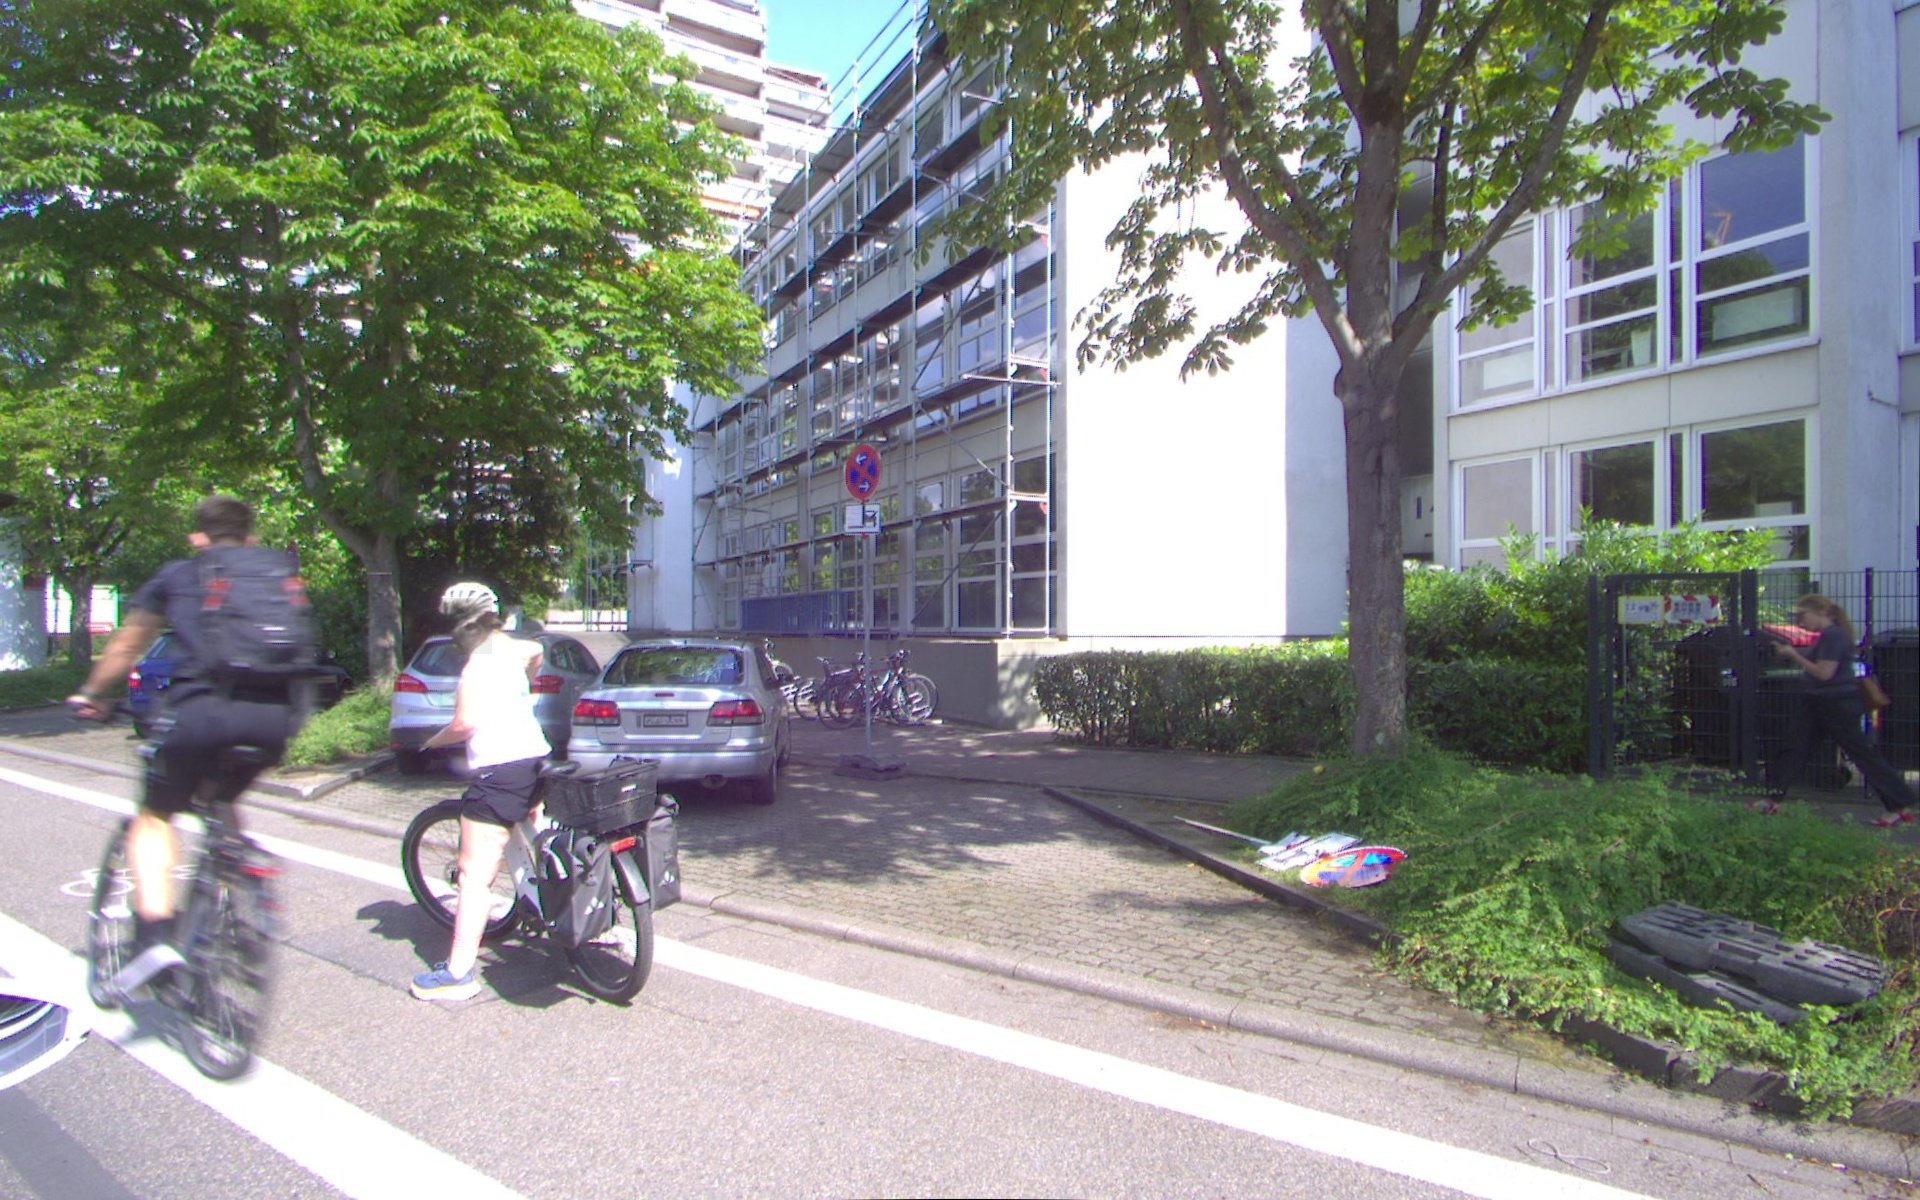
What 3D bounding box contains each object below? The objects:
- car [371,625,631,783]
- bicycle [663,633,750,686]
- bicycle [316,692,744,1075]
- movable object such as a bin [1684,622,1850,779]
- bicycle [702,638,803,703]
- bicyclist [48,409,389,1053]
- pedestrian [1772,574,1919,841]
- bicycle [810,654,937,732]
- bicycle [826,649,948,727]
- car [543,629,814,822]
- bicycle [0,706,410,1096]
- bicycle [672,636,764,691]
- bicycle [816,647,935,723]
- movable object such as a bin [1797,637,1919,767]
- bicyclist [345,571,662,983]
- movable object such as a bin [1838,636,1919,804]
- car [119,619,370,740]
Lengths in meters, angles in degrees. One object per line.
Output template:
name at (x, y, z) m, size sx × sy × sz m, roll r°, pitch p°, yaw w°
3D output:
car at (-5.004, 1.072, 11.493) m, size 1.621 × 1.493 × 3.805 m, roll 2°, pitch -2°, yaw -7°
bicycle at (-5.544, 1.283, 21.947) m, size 1.804 × 1.110 × 0.449 m, roll 0°, pitch 0°, yaw -26°
bicycle at (-1.957, 1.047, 4.390) m, size 2.110 × 1.140 × 0.871 m, roll -1°, pitch -1°, yaw 40°
movable object such as a bin at (8.334, 0.999, 10.353) m, size 1.250 × 1.500 × 0.933 m, roll 2°, pitch -1°, yaw -29°
bicycle at (-3.896, 1.308, 18.848) m, size 1.804 × 1.111 × 0.449 m, roll 0°, pitch 3°, yaw -26°
bicyclist at (-2.699, 0.417, 3.640) m, size 1.114 × 1.972 × 0.606 m, roll -1°, pitch -2°, yaw 33°
pedestrian at (6.806, 0.774, 7.598) m, size 0.990 × 1.898 × 0.757 m, roll 0°, pitch -1°, yaw 39°
bicycle at (-1.288, 1.374, 15.058) m, size 1.872 × 1.067 × 0.449 m, roll 0°, pitch 1°, yaw -26°
bicycle at (-1.134, 1.354, 15.661) m, size 1.872 × 1.110 × 0.449 m, roll 0°, pitch 1°, yaw -26°
car at (-2.455, 1.030, 9.784) m, size 1.690 × 1.438 × 4.244 m, roll 1°, pitch -1°, yaw -4°
bicycle at (-2.876, 0.982, 3.748) m, size 1.811 × 1.059 × 0.614 m, roll -2°, pitch 2°, yaw 34°
bicycle at (-5.031, 1.307, 20.875) m, size 1.804 × 1.110 × 0.449 m, roll 1°, pitch 0°, yaw -26°
bicycle at (-1.344, 1.343, 16.113) m, size 1.872 × 1.110 × 0.449 m, roll 0°, pitch 1°, yaw -26°
movable object such as a bin at (10.636, 1.139, 11.620) m, size 1.200 × 1.356 × 1.252 m, roll -1°, pitch 1°, yaw -41°
bicyclist at (-2.030, 0.695, 4.463) m, size 1.072 × 1.548 × 0.886 m, roll -1°, pitch -3°, yaw 40°
movable object such as a bin at (8.377, 1.000, 8.459) m, size 1.219 × 1.352 × 1.273 m, roll -1°, pitch -3°, yaw 32°
car at (-10.539, 1.072, 15.125) m, size 1.586 × 1.505 × 3.996 m, roll -1°, pitch 0°, yaw -12°
